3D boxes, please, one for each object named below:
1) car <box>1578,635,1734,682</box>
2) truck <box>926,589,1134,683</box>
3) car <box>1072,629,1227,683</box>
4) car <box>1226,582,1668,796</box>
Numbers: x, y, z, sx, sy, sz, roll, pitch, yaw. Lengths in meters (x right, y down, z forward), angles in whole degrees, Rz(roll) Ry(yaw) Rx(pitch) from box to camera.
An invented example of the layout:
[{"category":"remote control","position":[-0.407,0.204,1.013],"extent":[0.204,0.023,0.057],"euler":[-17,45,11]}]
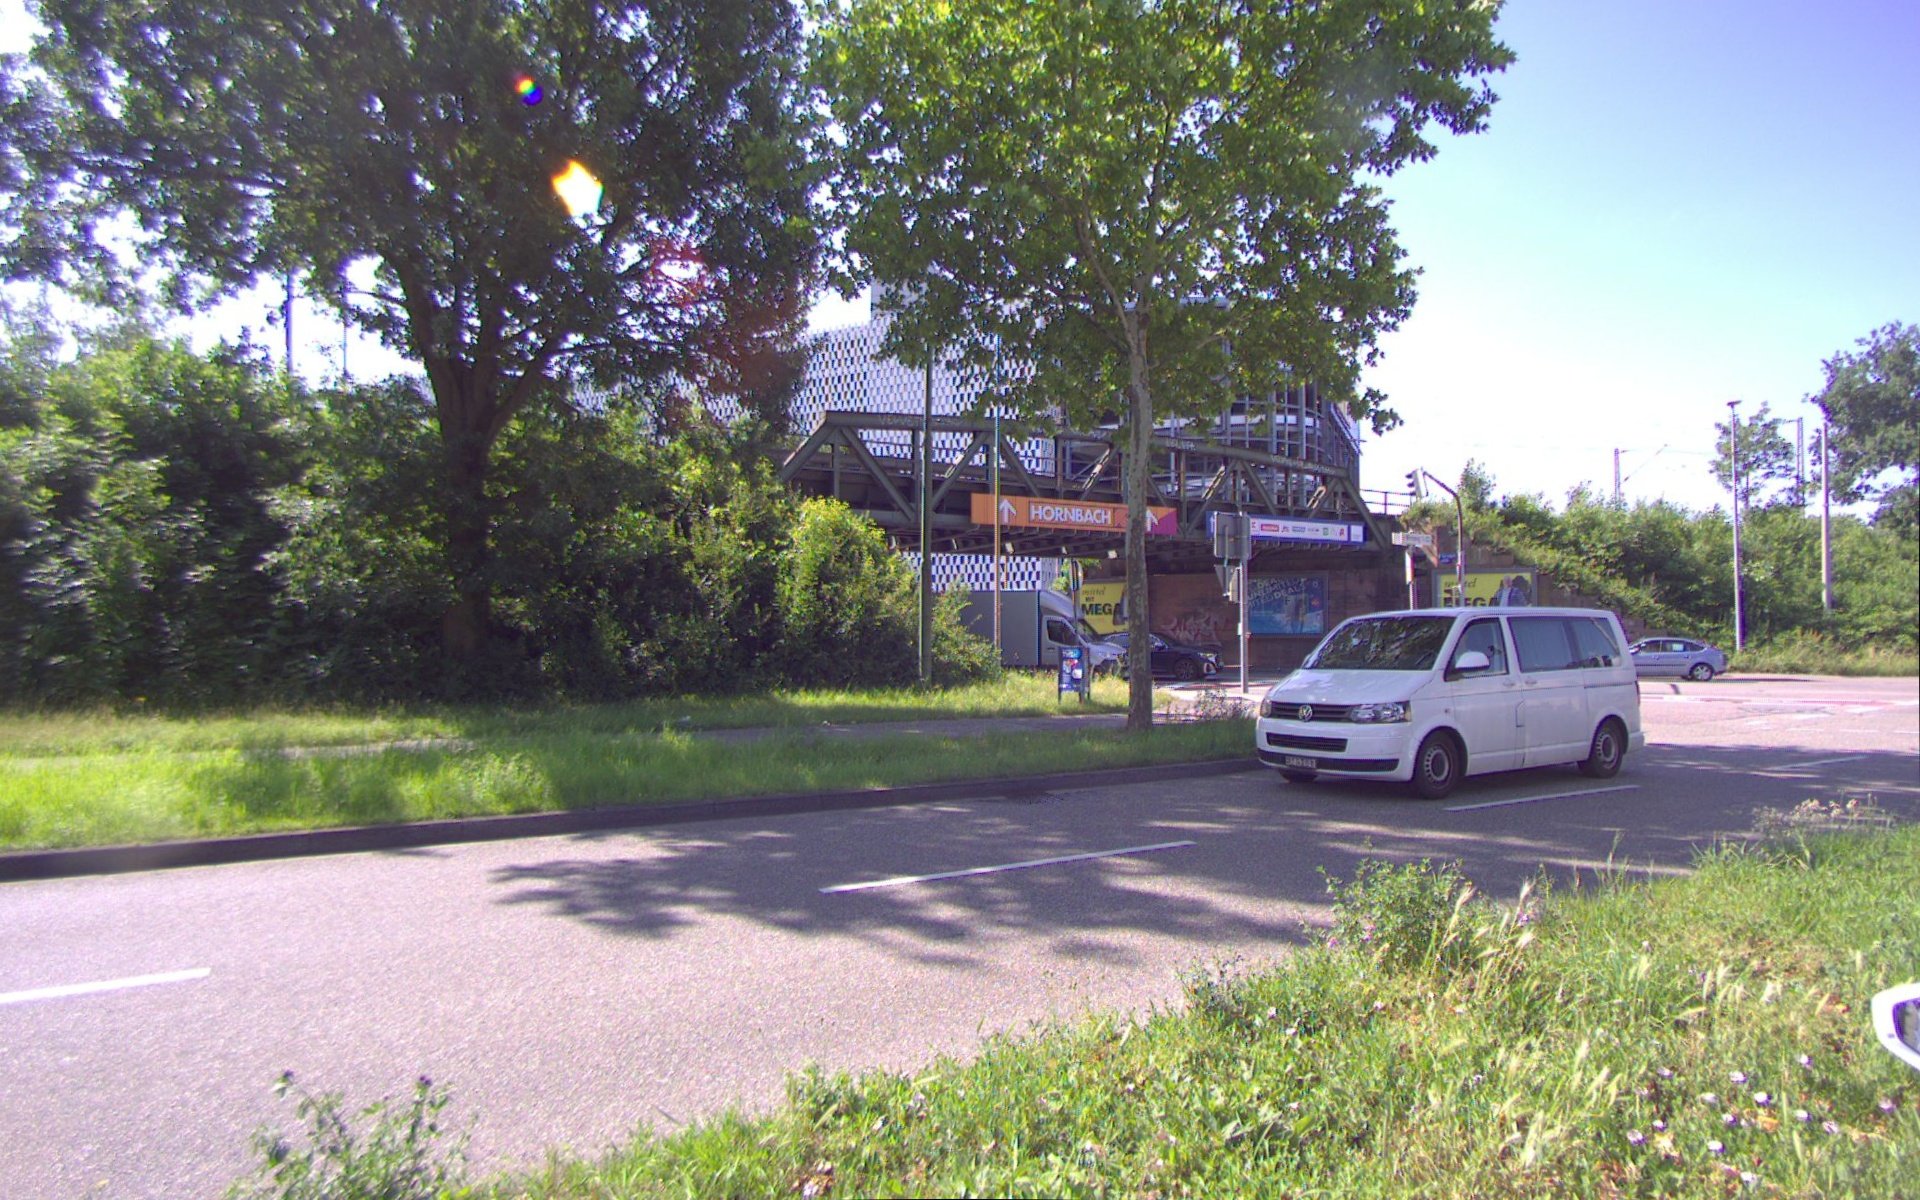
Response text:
[{"category":"car","position":[24.182,2.005,35.089],"extent":[4.146,1.427,1.916],"euler":[1,-1,23]},{"category":"truck","position":[2.172,1.065,31.835],"extent":[6.286,2.748,1.998],"euler":[1,-1,26]},{"category":"car","position":[6.455,1.866,34.305],"extent":[4.957,1.617,1.526],"euler":[1,-1,24]},{"category":"car","position":[5.473,0.913,11.139],"extent":[4.929,1.915,1.985],"euler":[2,-4,-30]}]
